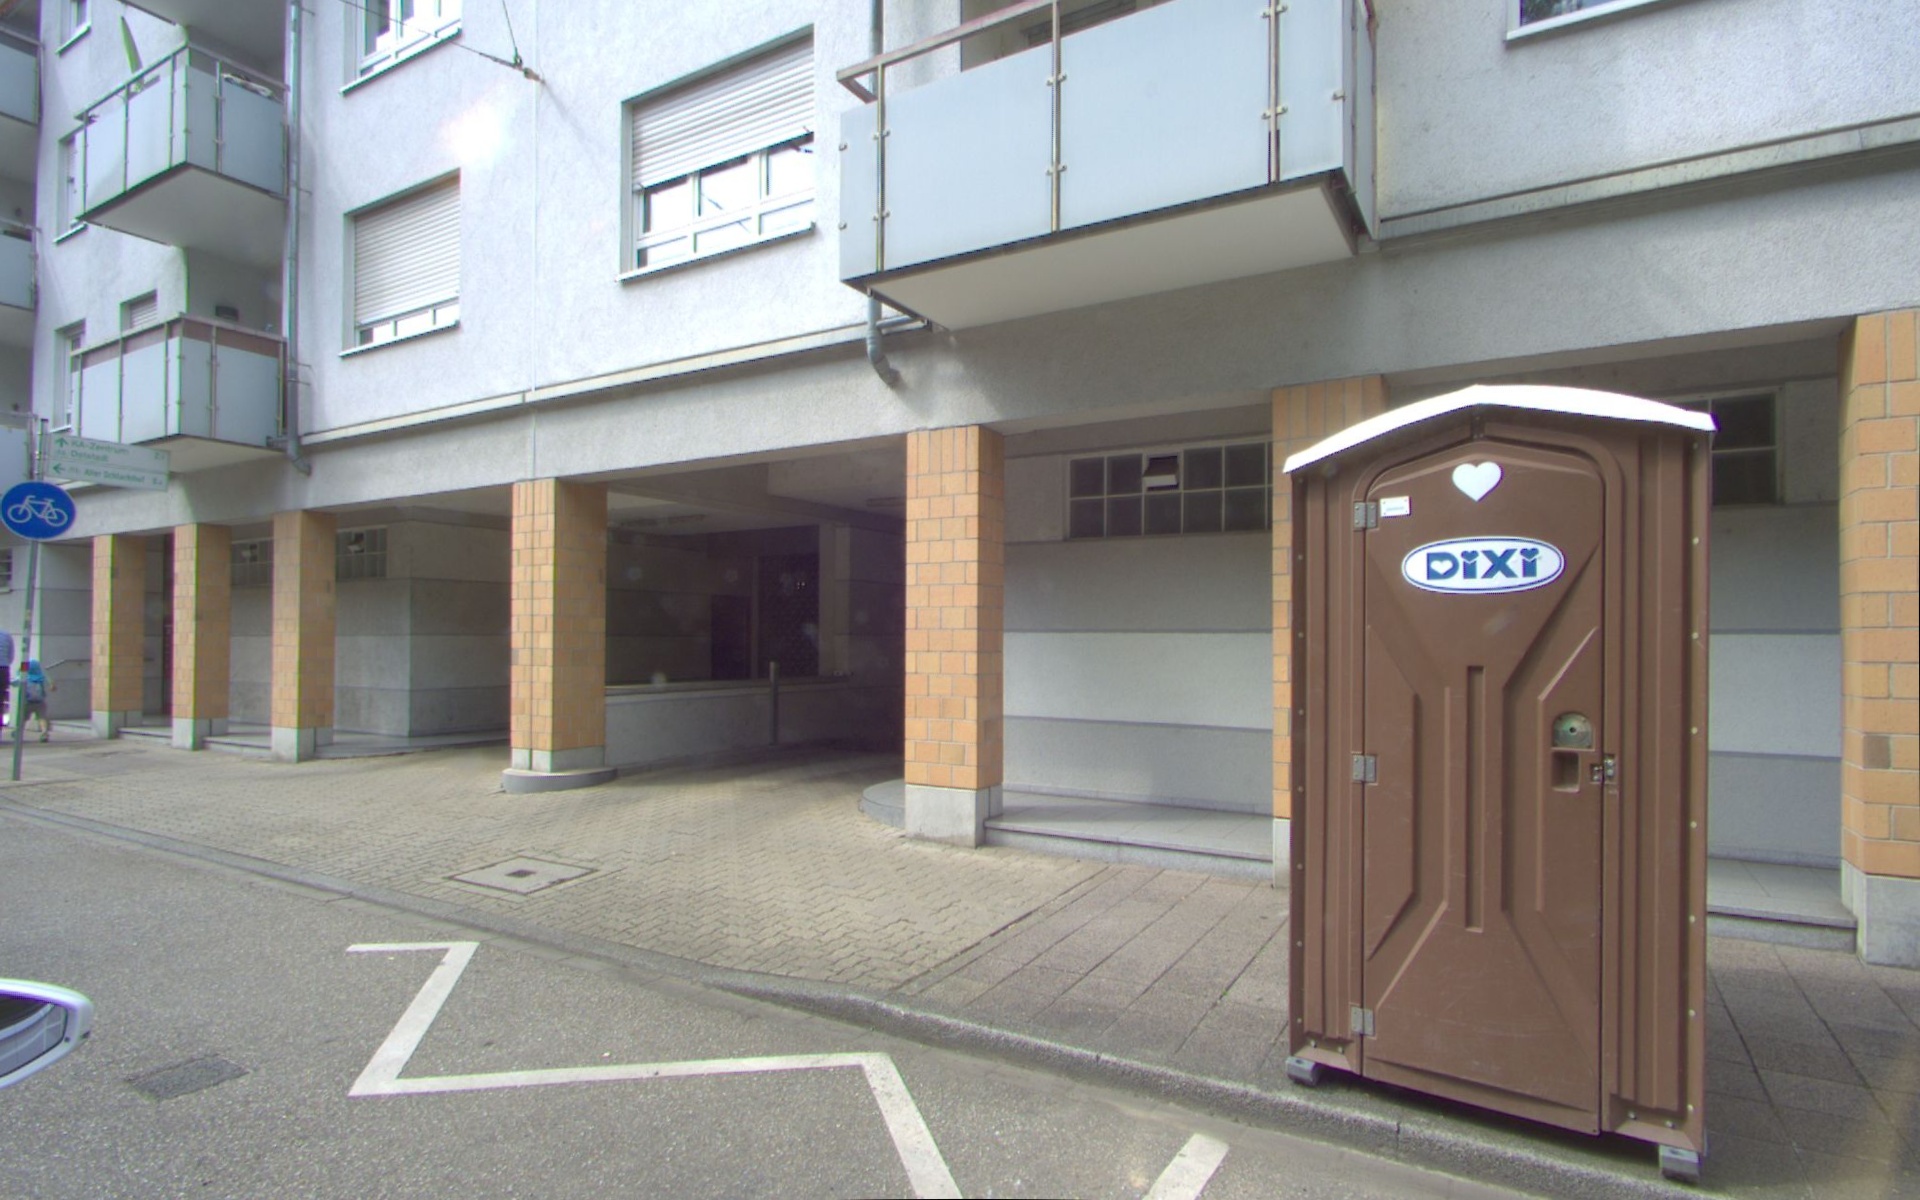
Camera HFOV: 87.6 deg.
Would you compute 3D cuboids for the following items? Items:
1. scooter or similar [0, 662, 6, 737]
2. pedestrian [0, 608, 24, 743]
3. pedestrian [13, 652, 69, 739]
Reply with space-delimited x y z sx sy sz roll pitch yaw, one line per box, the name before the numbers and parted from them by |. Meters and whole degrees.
scooter or similar | -13.551 1.366 13.618 0.893 1.016 0.591 -1 2 32
pedestrian | -12.925 0.989 13.234 0.865 1.761 0.620 0 0 32
pedestrian | -12.714 1.306 13.853 0.487 1.150 0.455 0 0 32
